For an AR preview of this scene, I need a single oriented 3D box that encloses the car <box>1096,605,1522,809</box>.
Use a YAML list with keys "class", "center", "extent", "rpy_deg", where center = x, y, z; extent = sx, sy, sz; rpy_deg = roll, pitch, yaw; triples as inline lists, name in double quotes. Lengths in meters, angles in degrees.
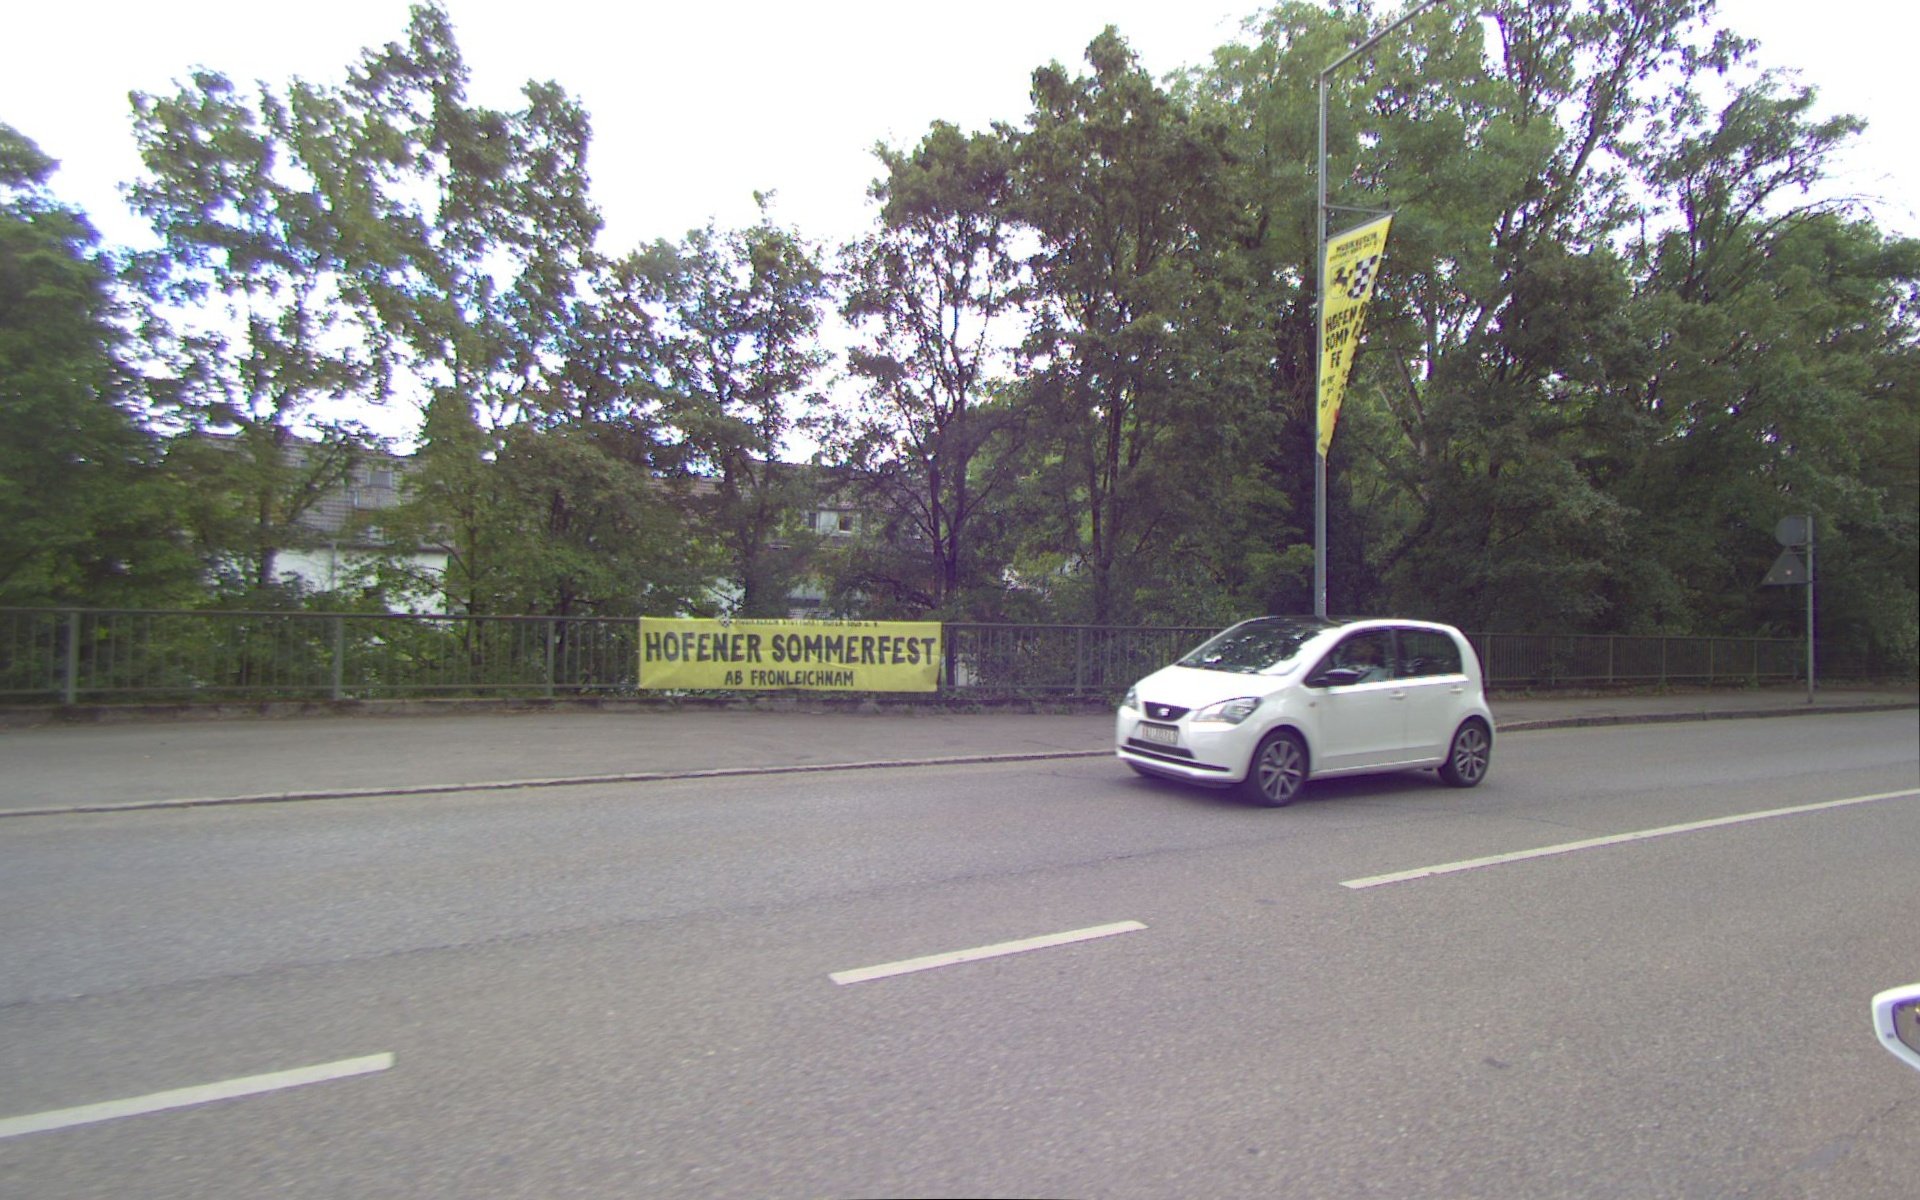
- class: "car"
  center: [3.149, 0.833, 8.915]
  extent: [3.652, 1.485, 1.573]
  rpy_deg: [2, -1, -30]
